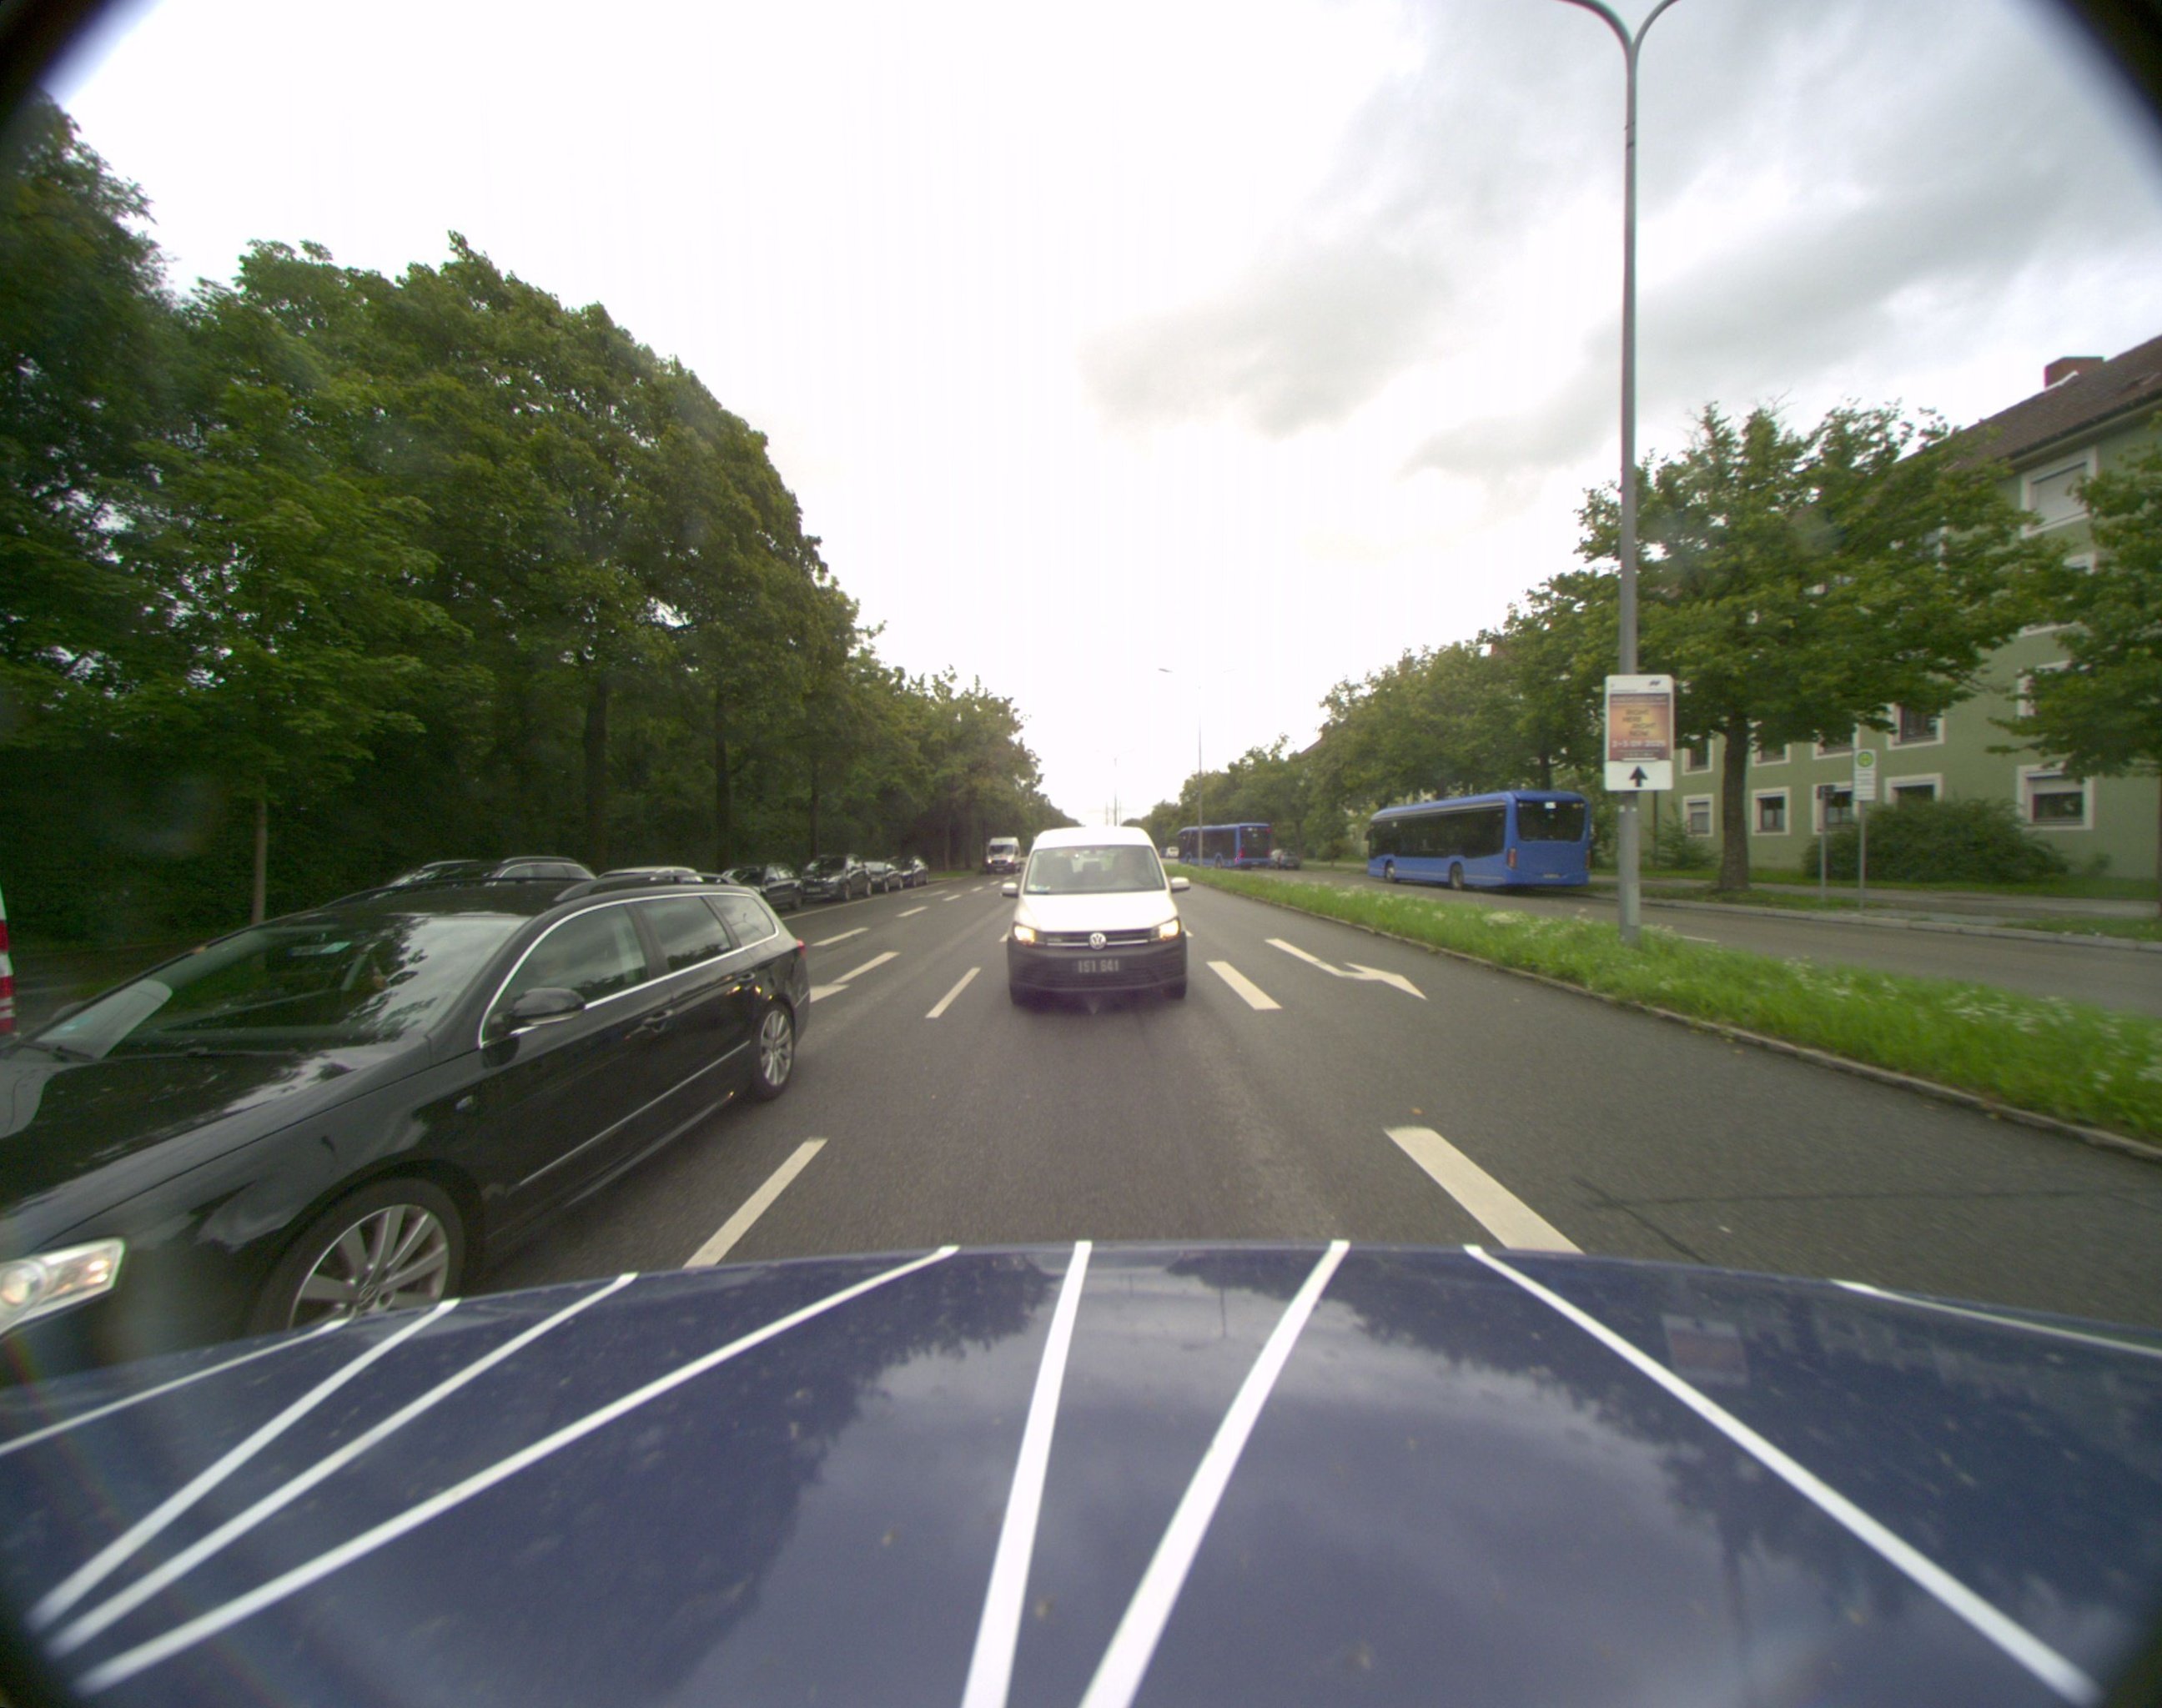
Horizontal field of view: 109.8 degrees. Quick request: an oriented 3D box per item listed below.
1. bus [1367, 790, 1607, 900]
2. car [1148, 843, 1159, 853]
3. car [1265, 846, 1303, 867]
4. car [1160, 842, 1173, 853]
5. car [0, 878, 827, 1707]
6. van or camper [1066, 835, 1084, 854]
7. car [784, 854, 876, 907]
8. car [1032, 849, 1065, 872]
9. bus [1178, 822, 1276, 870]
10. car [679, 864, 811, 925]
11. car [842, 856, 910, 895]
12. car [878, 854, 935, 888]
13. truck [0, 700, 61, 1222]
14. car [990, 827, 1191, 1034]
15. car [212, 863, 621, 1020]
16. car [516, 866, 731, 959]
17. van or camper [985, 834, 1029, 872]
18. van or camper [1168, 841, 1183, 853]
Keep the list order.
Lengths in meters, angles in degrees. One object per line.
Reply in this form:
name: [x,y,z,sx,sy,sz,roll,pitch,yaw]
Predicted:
bus: [14.483,-0.347,28.902,2.752,3.324,12.047,0,1,1]
car: [14.951,-1.257,156.511,1.998,2.002,3.999,-1,1,1]
car: [15.187,0.152,57.049,1.857,1.454,3.910,-2,1,2]
car: [16.169,-1.239,143.636,1.998,2.002,3.999,-1,1,1]
car: [-2.817,0.970,3.309,1.752,1.466,4.671,-2,1,1]
van or camper: [-1.017,-1.606,131.457,2.780,3.219,7.074,-1,1,2]
car: [-8.818,0.869,27.077,1.752,1.640,4.255,-1,1,1]
car: [-2.225,0.443,52.489,1.819,1.421,4.671,-3,1,2]
bus: [10.823,-0.638,58.429,2.755,3.324,12.258,0,1,-12]
car: [-9.277,1.056,21.415,1.752,1.420,4.255,-1,1,1]
car: [-8.731,0.870,32.651,1.752,1.459,4.038,-1,1,1]
car: [-8.537,0.791,37.582,1.752,1.459,4.255,-1,1,1]
truck: [-6.398,0.602,0.333,1.998,2.589,7.226,-2,1,0]
car: [0.112,0.656,9.077,1.752,1.809,4.671,-1,1,1]
car: [-8.895,1.027,10.849,1.884,1.640,4.396,-1,1,1]
car: [-9.253,1.095,15.877,1.752,1.515,4.396,-1,1,1]
van or camper: [-5.277,-0.096,55.210,2.183,2.546,7.074,-1,1,2]
van or camper: [16.153,-1.232,130.067,1.998,2.002,3.999,-1,1,1]
